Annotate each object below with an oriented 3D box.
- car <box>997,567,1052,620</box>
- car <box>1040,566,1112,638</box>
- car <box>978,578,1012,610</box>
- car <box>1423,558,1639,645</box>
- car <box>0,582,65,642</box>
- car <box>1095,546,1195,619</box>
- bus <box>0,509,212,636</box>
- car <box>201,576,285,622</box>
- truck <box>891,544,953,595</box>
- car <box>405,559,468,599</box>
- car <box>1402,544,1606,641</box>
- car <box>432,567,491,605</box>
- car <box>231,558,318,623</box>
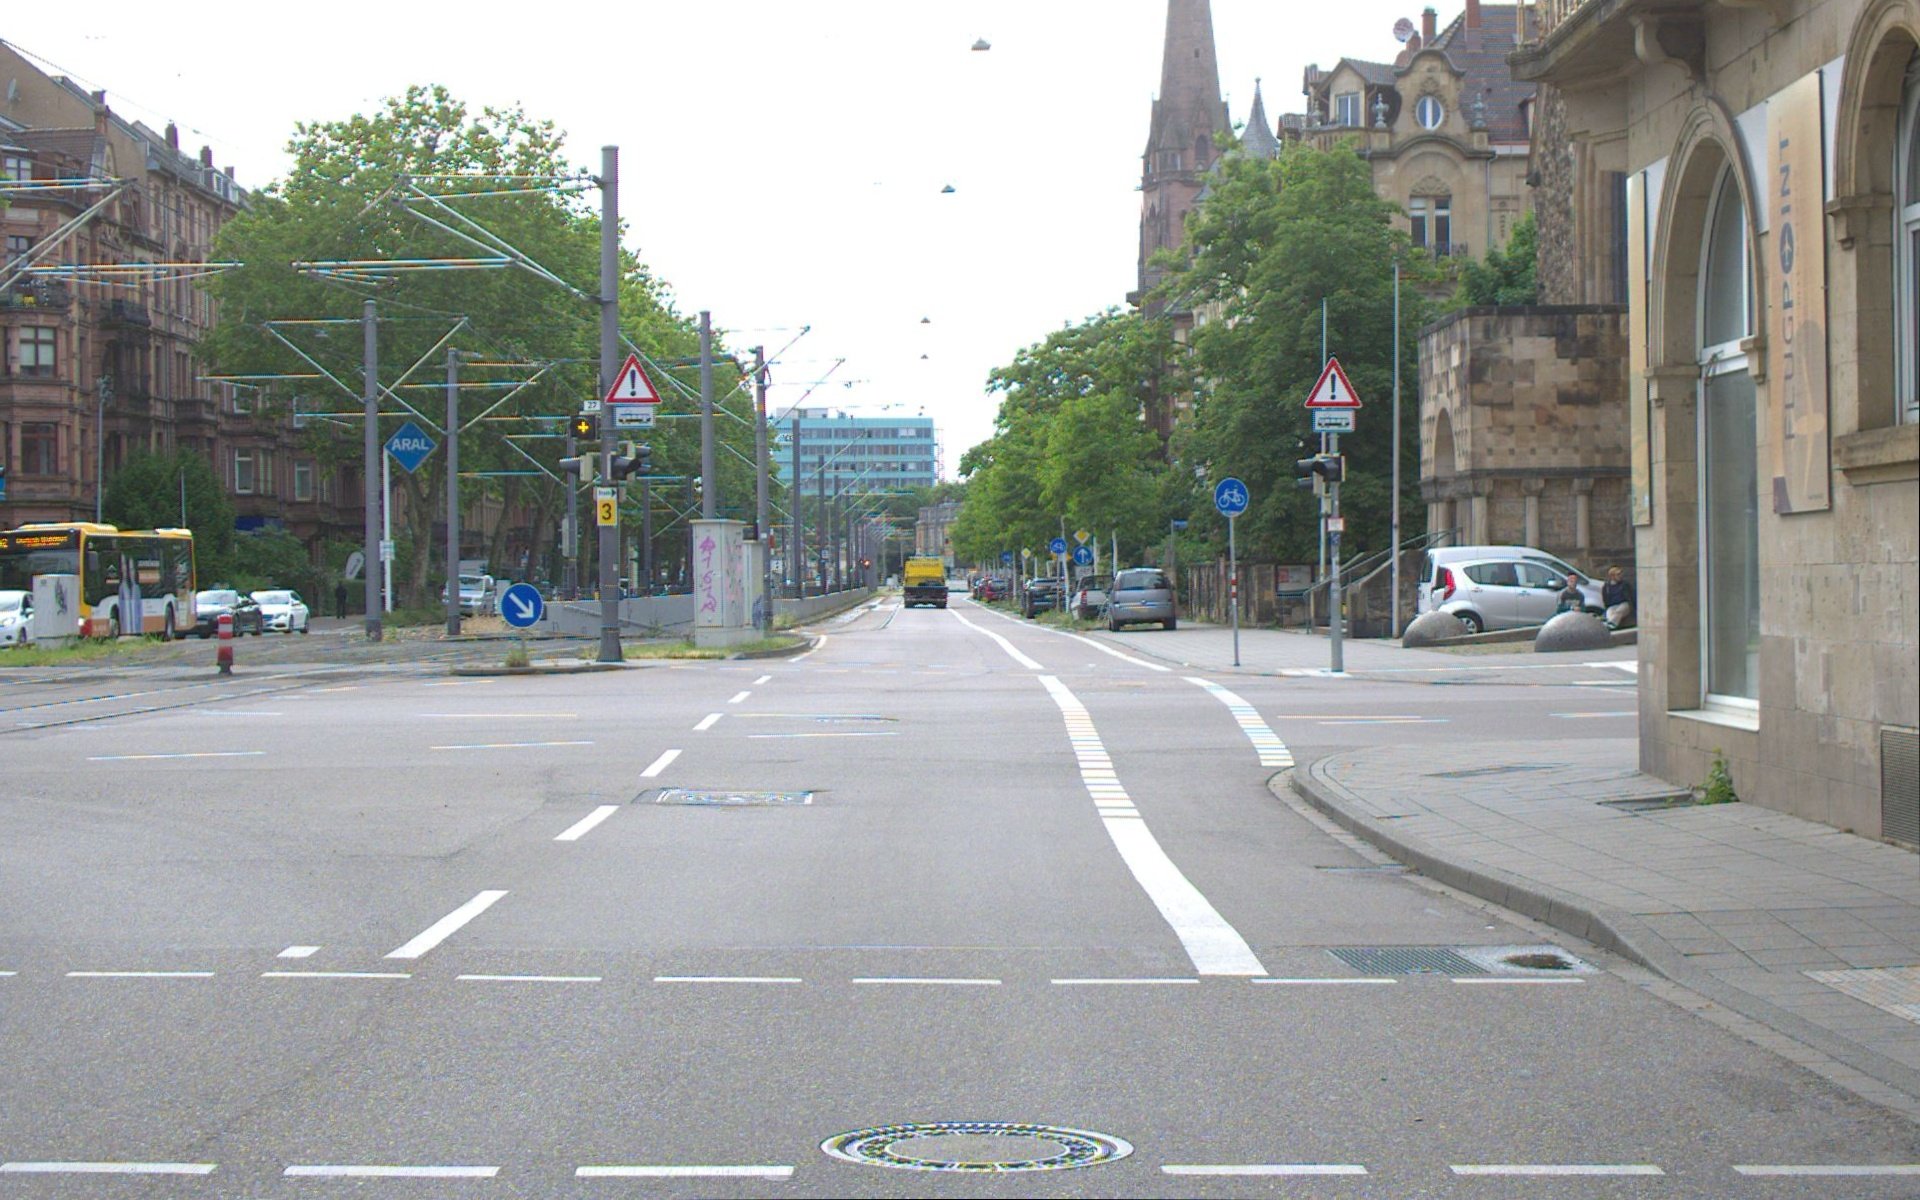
[{"bbox_3d":[2.534,-0.271,135.990,1.993,2.007,4.000,1,1,-1],"label":"car"},{"bbox_3d":[3.339,0.036,99.609,1.993,2.007,4.000,1,1,1],"label":"car"},{"bbox_3d":[2.189,-0.395,216.838,1.993,2.007,4.000,1,1,-1],"label":"car"},{"bbox_3d":[10.760,0.018,64.961,3.713,1.558,2.000,1,0,0],"label":"car"},{"bbox_3d":[-21.914,0.264,79.046,1.656,1.316,3.638,1,1,1],"label":"car"},{"bbox_3d":[4.864,-0.469,89.986,1.994,1.849,4.024,1,1,12],"label":"car"},{"bbox_3d":[-22.482,-0.724,89.095,3.231,3.025,12.311,1,1,1],"label":"bus"},{"bbox_3d":[-21.300,-0.043,102.244,1.656,1.316,3.638,1,1,1],"label":"car"},{"bbox_3d":[-2.050,-1.727,191.517,3.055,2.760,9.815,0,1,2],"label":"truck"},{"bbox_3d":[-21.542,-0.871,141.521,1.993,1.605,4.000,1,1,-1],"label":"car"},{"bbox_3d":[10.789,-0.159,68.406,3.713,1.849,2.000,1,0,0],"label":"car"},{"bbox_3d":[-21.633,-0.631,149.338,1.993,1.605,4.000,1,1,-1],"label":"car"},{"bbox_3d":[-21.843,-0.314,109.603,1.993,2.007,4.000,1,1,-1],"label":"car"}]
